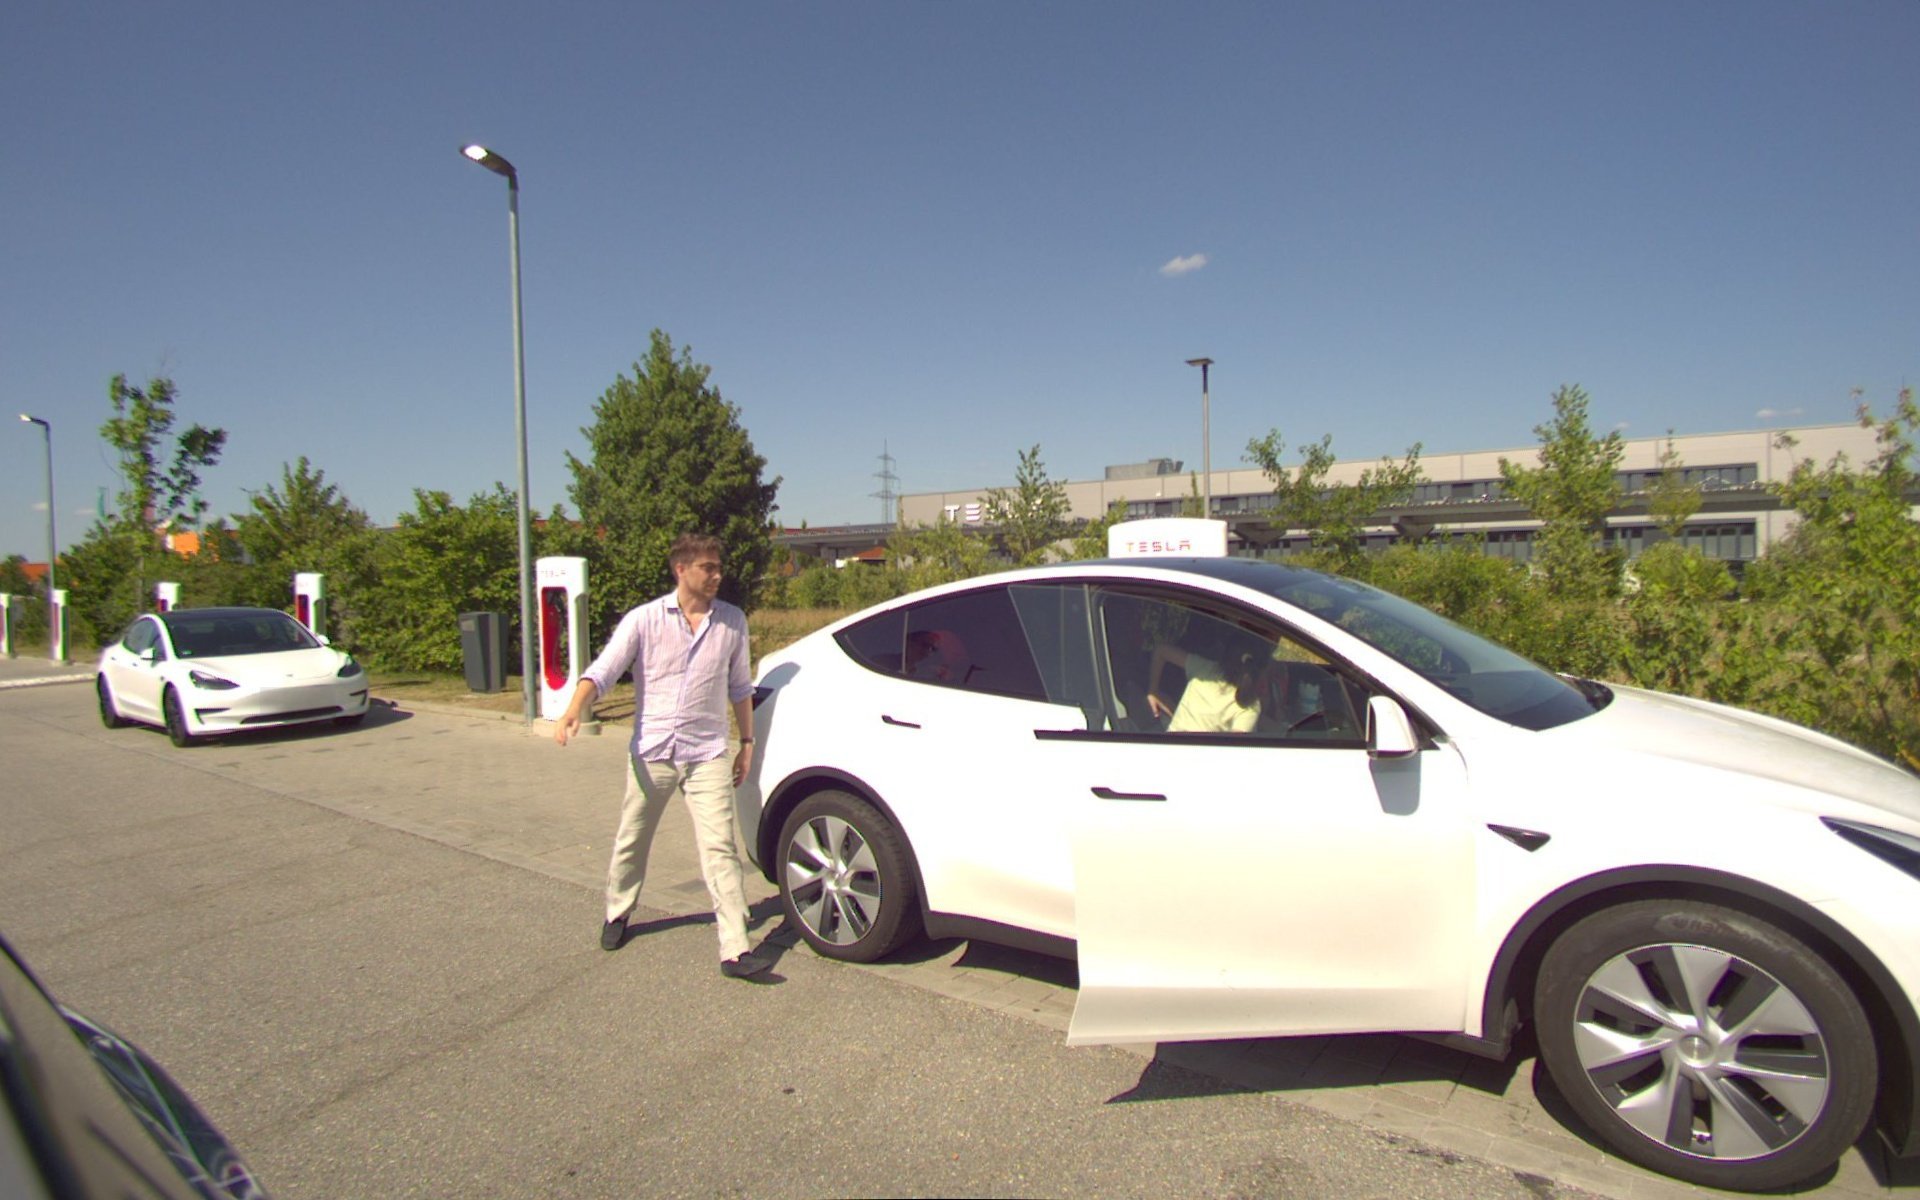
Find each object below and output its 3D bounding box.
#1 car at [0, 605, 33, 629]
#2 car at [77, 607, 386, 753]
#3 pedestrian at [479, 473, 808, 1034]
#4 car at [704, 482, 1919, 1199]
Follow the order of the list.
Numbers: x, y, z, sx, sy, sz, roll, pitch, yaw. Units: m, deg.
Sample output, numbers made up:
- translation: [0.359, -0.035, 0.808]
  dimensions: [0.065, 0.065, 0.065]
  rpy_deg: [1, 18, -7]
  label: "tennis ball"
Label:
- translation: [-82.062, 1.488, 87.596]
  dimensions: [3.994, 2.029, 1.975]
  rpy_deg: [-2, 0, 38]
  label: "car"
- translation: [-8.862, 0.845, 12.175]
  dimensions: [4.442, 1.388, 1.800]
  rpy_deg: [-1, 1, 38]
  label: "car"
- translation: [-1.226, 0.492, 3.882]
  dimensions: [1.035, 1.813, 0.727]
  rpy_deg: [-1, 1, 43]
  label: "pedestrian"
- translation: [1.236, 0.547, 3.908]
  dimensions: [4.480, 1.612, 1.848]
  rpy_deg: [-1, 1, 36]
  label: "car"
